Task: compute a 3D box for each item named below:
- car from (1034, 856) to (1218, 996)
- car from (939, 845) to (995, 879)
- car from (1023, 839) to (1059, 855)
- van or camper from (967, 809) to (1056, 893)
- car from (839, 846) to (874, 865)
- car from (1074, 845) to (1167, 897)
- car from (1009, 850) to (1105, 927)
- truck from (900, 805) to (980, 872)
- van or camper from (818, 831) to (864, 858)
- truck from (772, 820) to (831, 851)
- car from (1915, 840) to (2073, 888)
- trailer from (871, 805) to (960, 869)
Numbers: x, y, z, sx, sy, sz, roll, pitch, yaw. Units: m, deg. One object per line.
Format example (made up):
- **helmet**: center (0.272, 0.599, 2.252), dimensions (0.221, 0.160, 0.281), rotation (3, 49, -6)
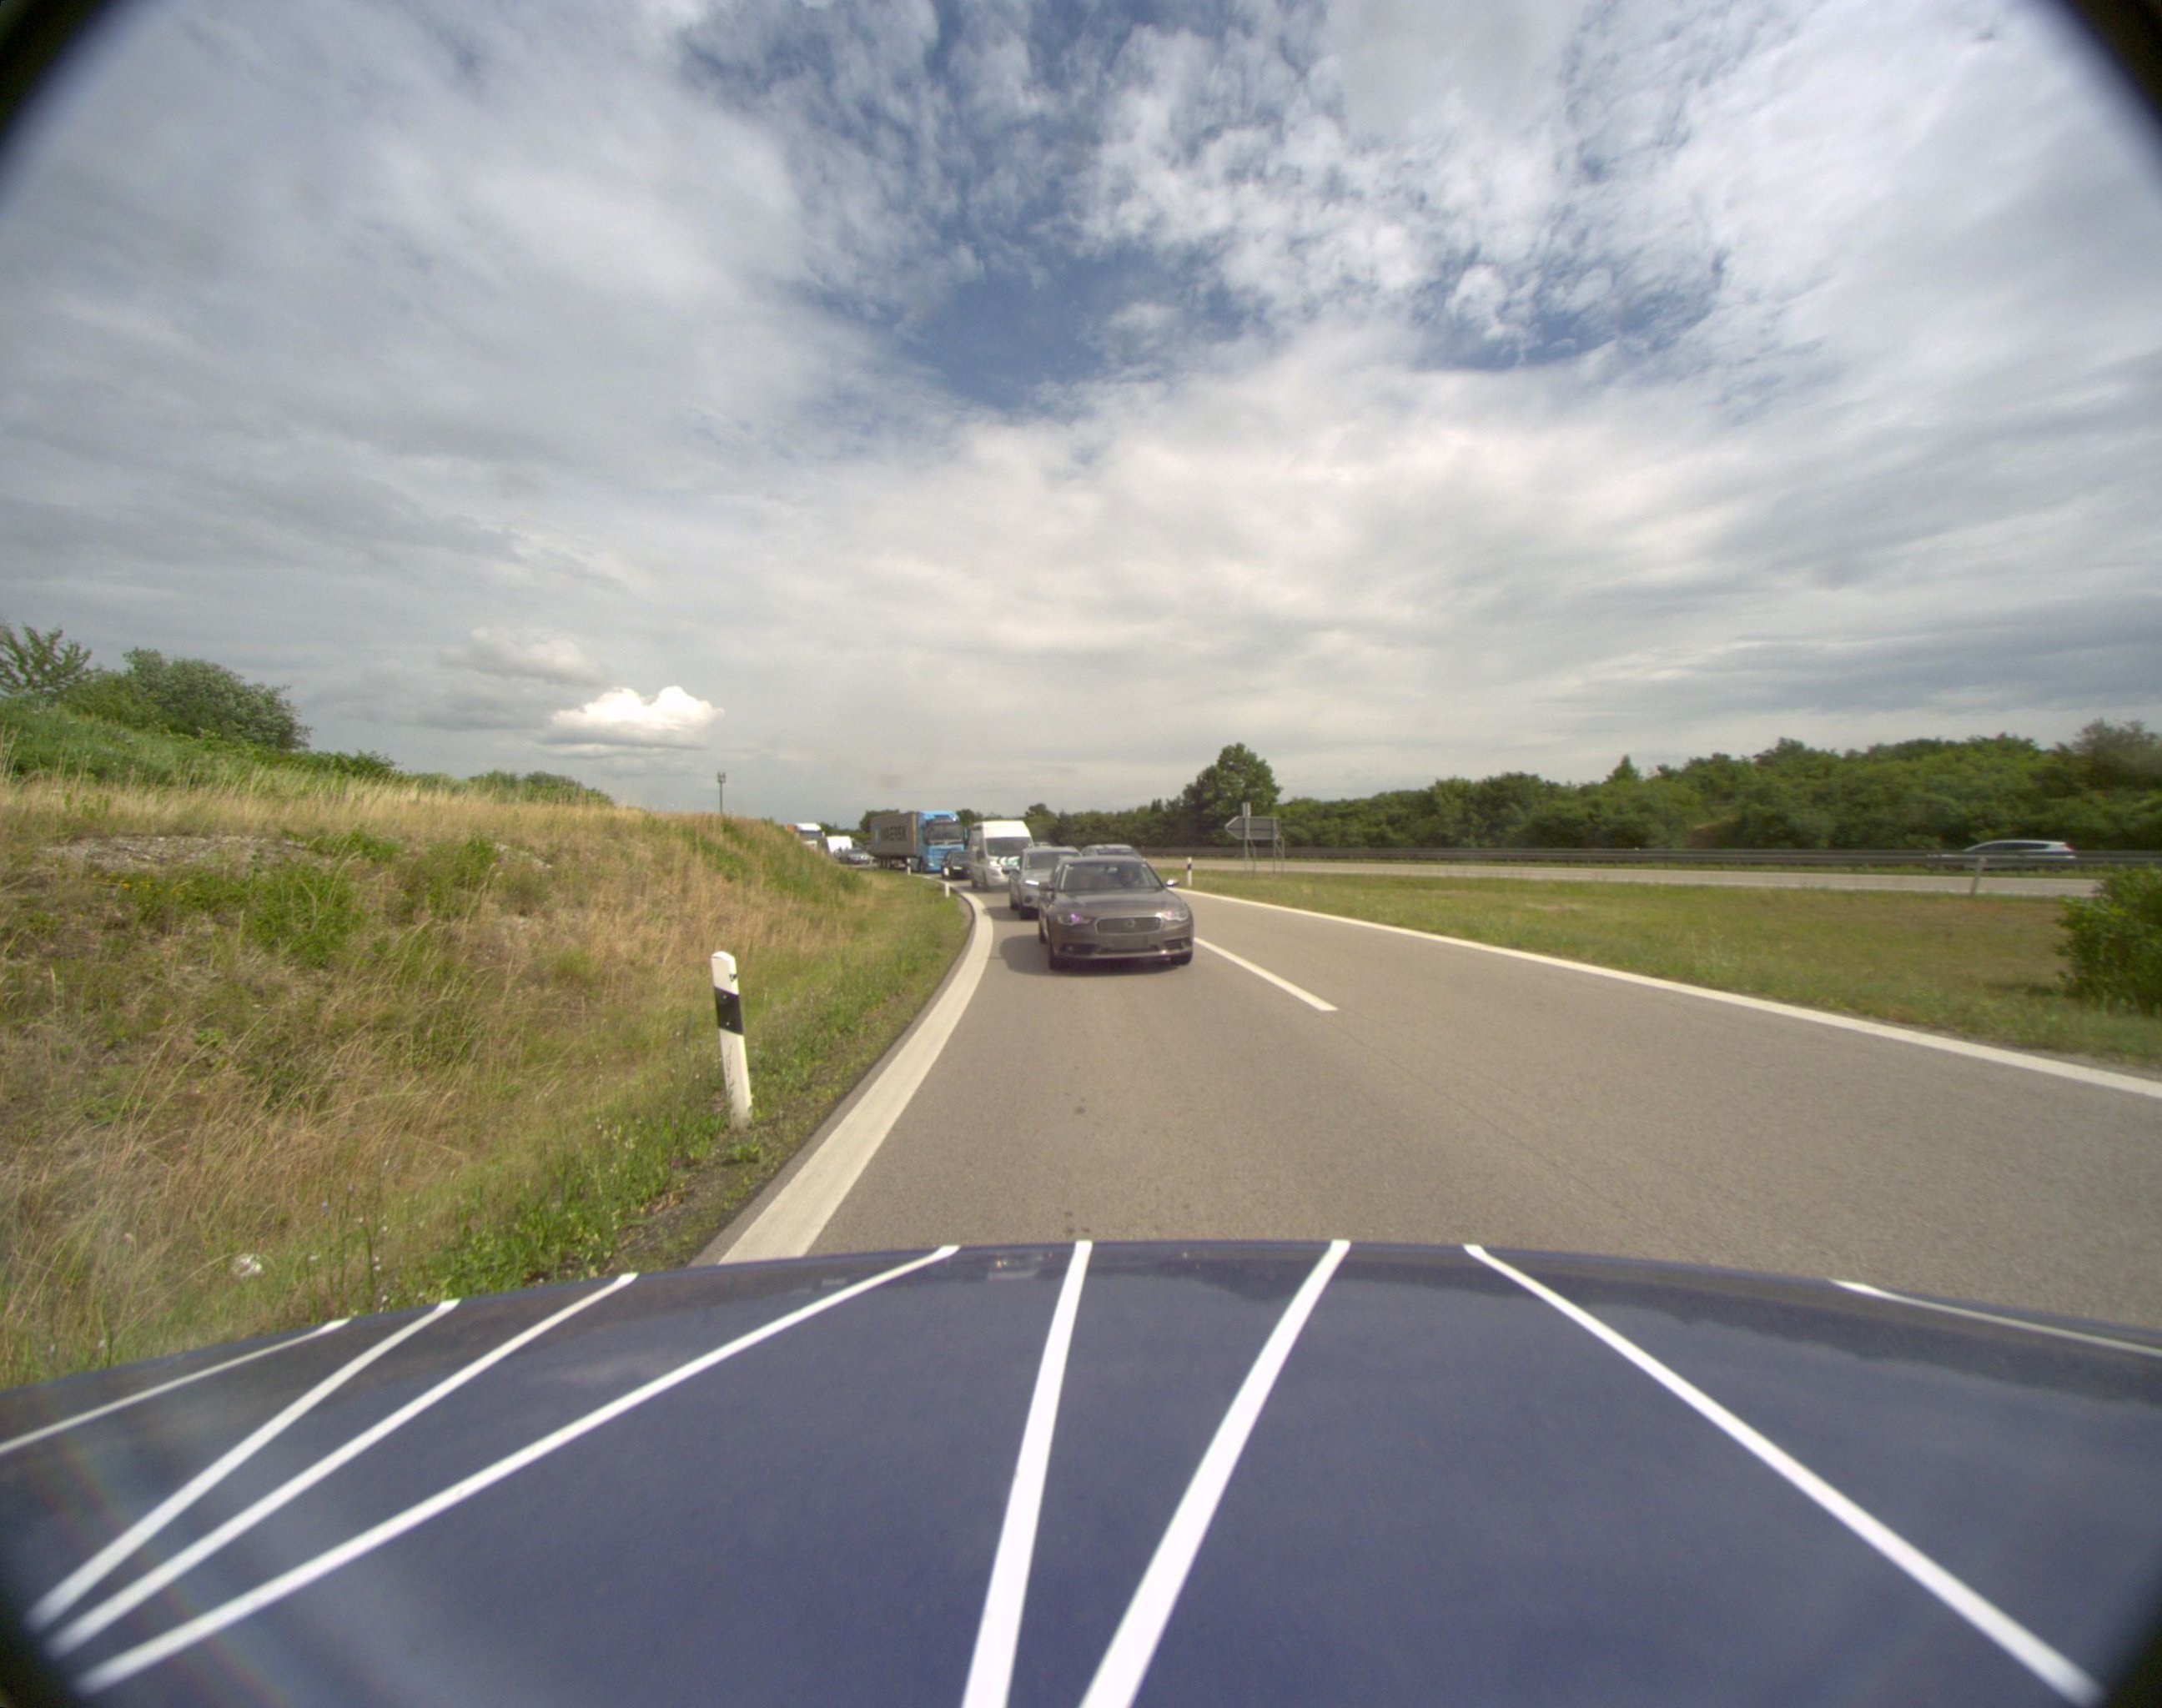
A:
- **car**: center (0.399, 0.835, 11.087), dimensions (1.999, 1.505, 4.536), rotation (-2, 1, -5)
- **car**: center (-5.918, 0.374, 39.225), dimensions (2.002, 1.609, 3.992), rotation (-1, 2, -21)
- **car**: center (-4.511, -0.801, 85.488), dimensions (2.004, 1.674, 3.988), rotation (-1, 1, -38)
- **van or camper**: center (-2.864, -0.136, 29.754), dimensions (2.401, 2.892, 5.712), rotation (-3, 1, -15)
- **car**: center (-19.947, 0.125, 67.403), dimensions (2.003, 1.521, 3.989), rotation (-2, 3, -32)
- **car**: center (1.233, 0.489, 26.022), dimensions (2.028, 1.568, 4.581), rotation (-1, 1, -12)
- **car**: center (-0.698, 0.717, 18.452), dimensions (1.844, 1.587, 4.170), rotation (-1, 1, -8)
- **truck**: center (-9.293, -0.959, 49.461), dimensions (3.184, 4.050, 6.632), rotation (-3, 1, -27)
- **van or camper**: center (-22.892, -0.947, 72.334), dimensions (2.557, 2.200, 5.693), rotation (-3, 5, -34)
- **truck**: center (-31.741, -2.044, 85.933), dimensions (3.131, 3.220, 11.130), rotation (-2, 2, -36)
- **car**: center (38.896, 0.408, 32.462), dimensions (1.847, 1.862, 4.195), rotation (-3, 1, -36)
- **trailer**: center (-12.390, -1.117, 55.640), dimensions (3.280, 4.137, 11.991), rotation (-3, 1, -27)
